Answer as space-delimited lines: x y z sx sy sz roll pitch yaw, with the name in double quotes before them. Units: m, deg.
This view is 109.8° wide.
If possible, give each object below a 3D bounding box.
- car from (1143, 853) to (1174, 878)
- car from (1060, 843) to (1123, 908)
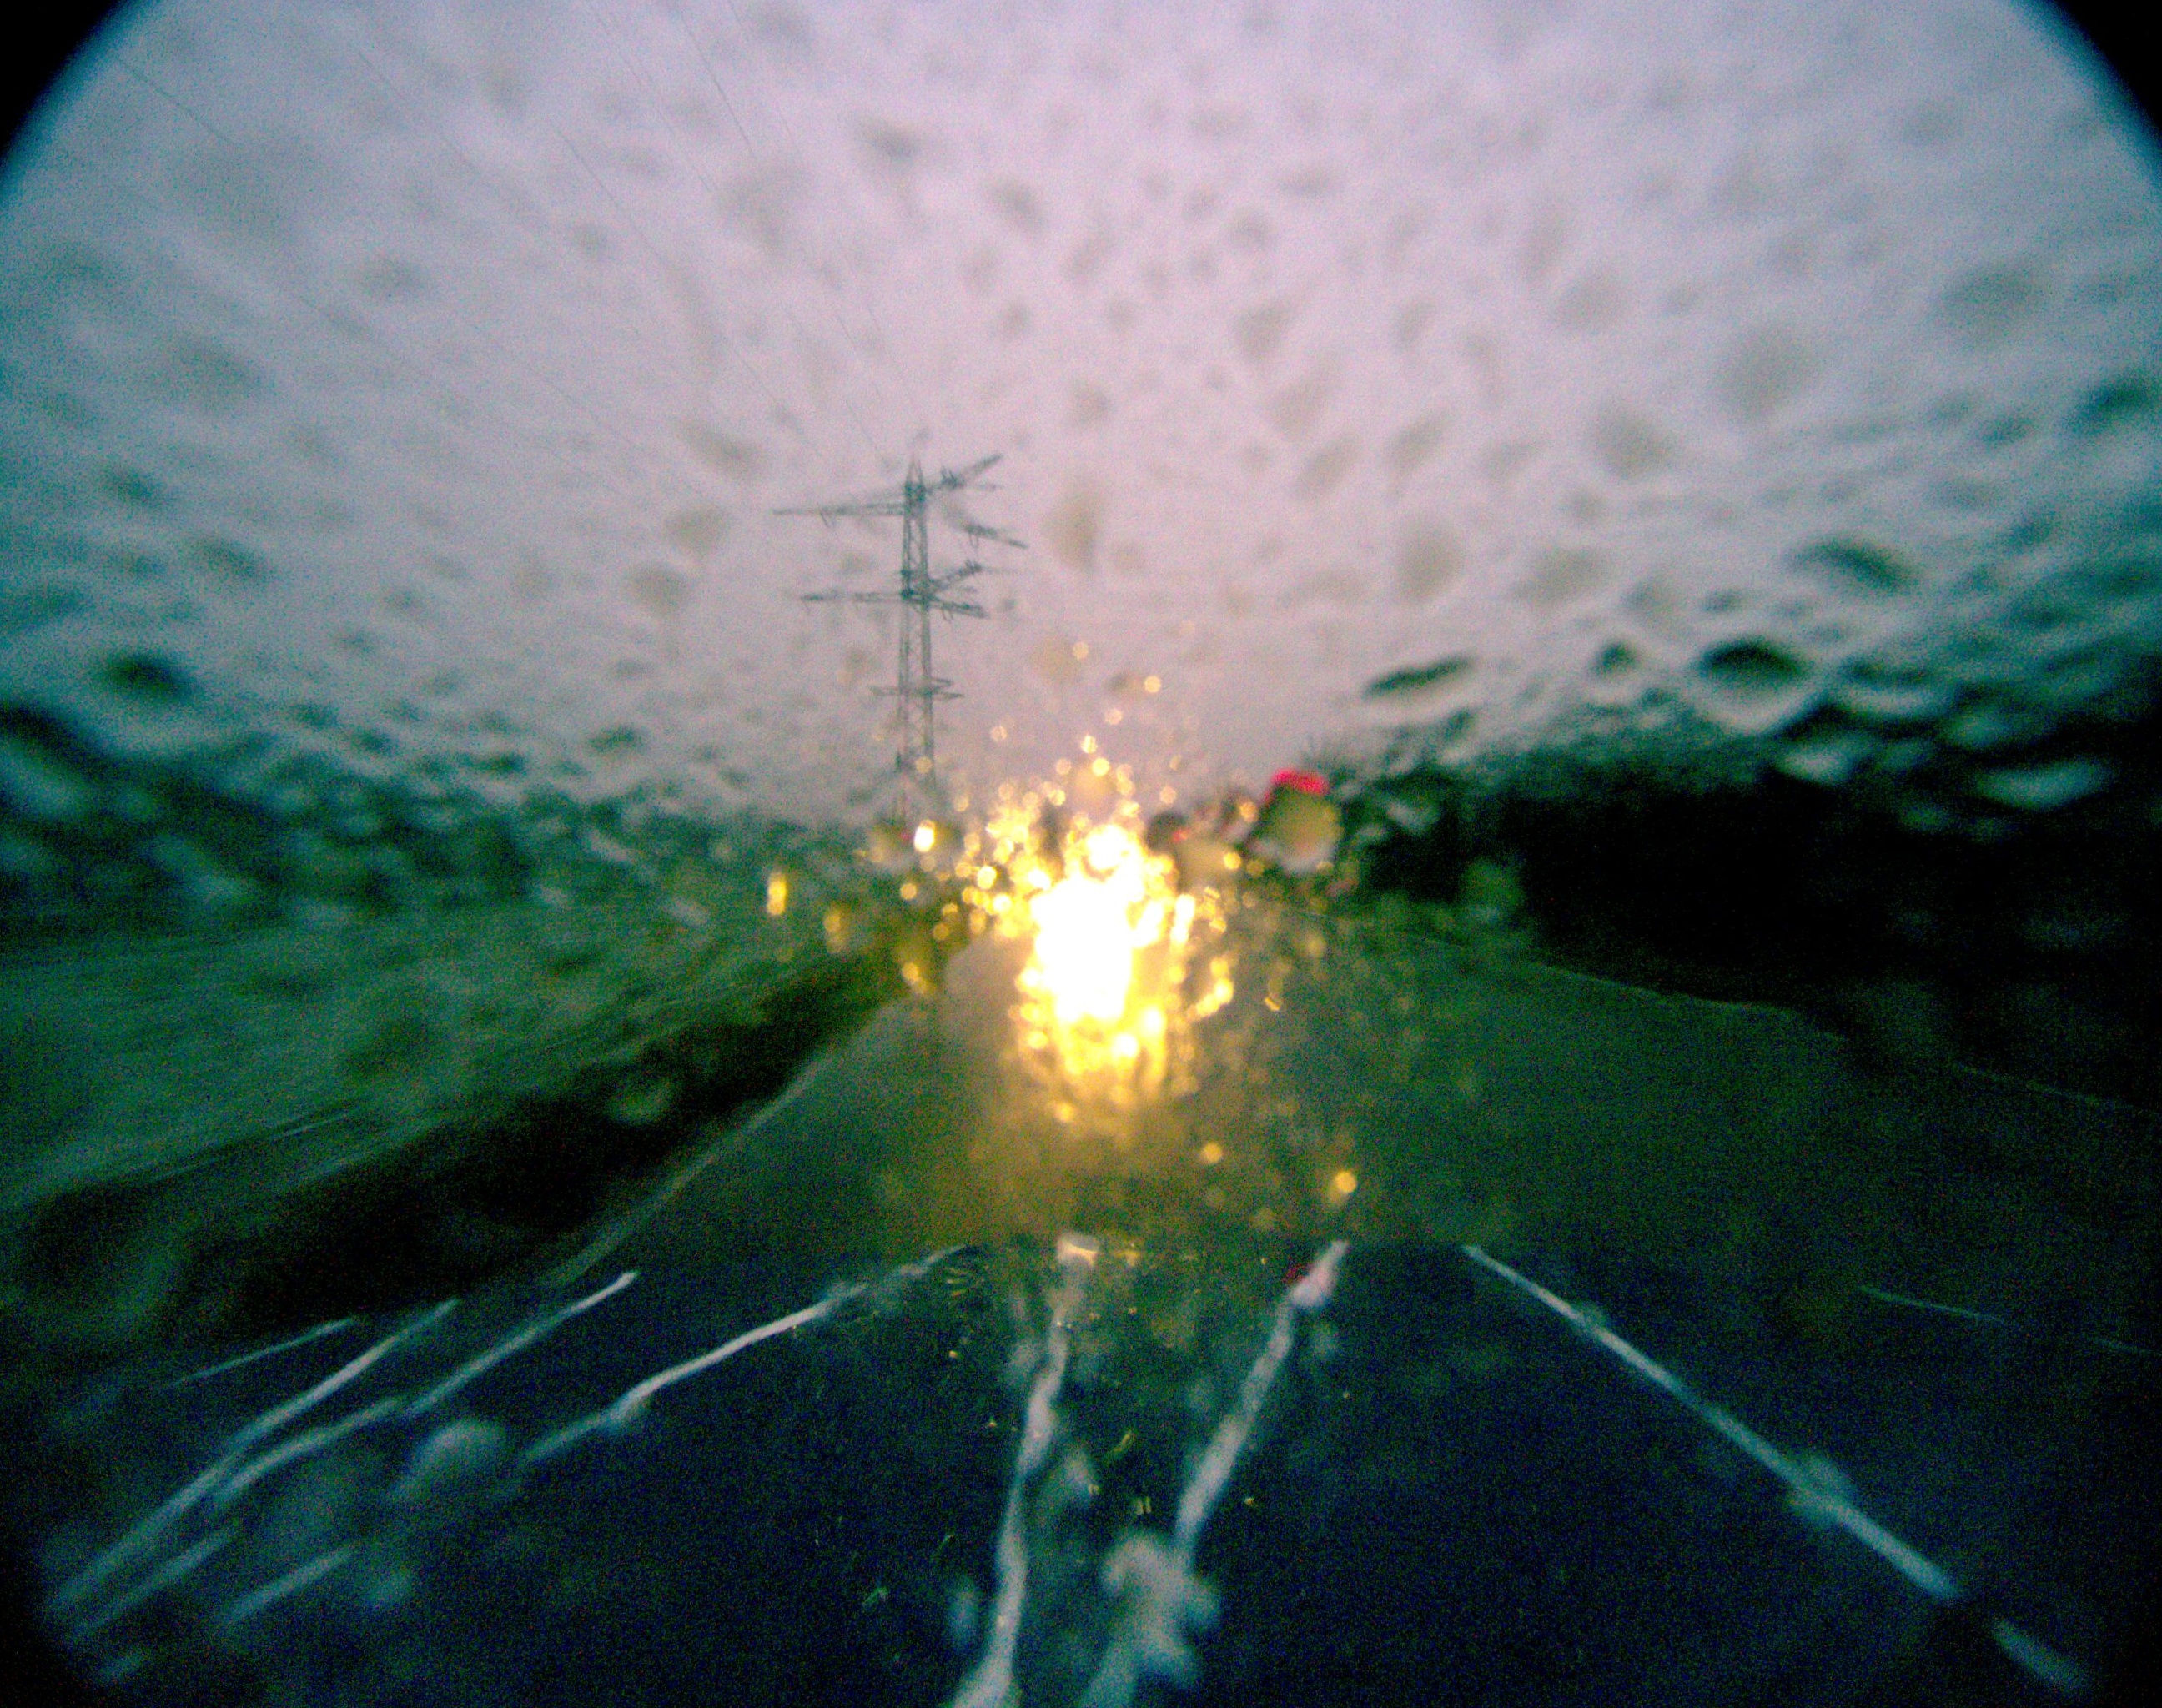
"car" 5.210 0.752 51.534 1.676 1.621 3.976 -2 0 1
"car" 0.278 0.674 26.153 1.857 2.002 3.999 -2 1 -3
